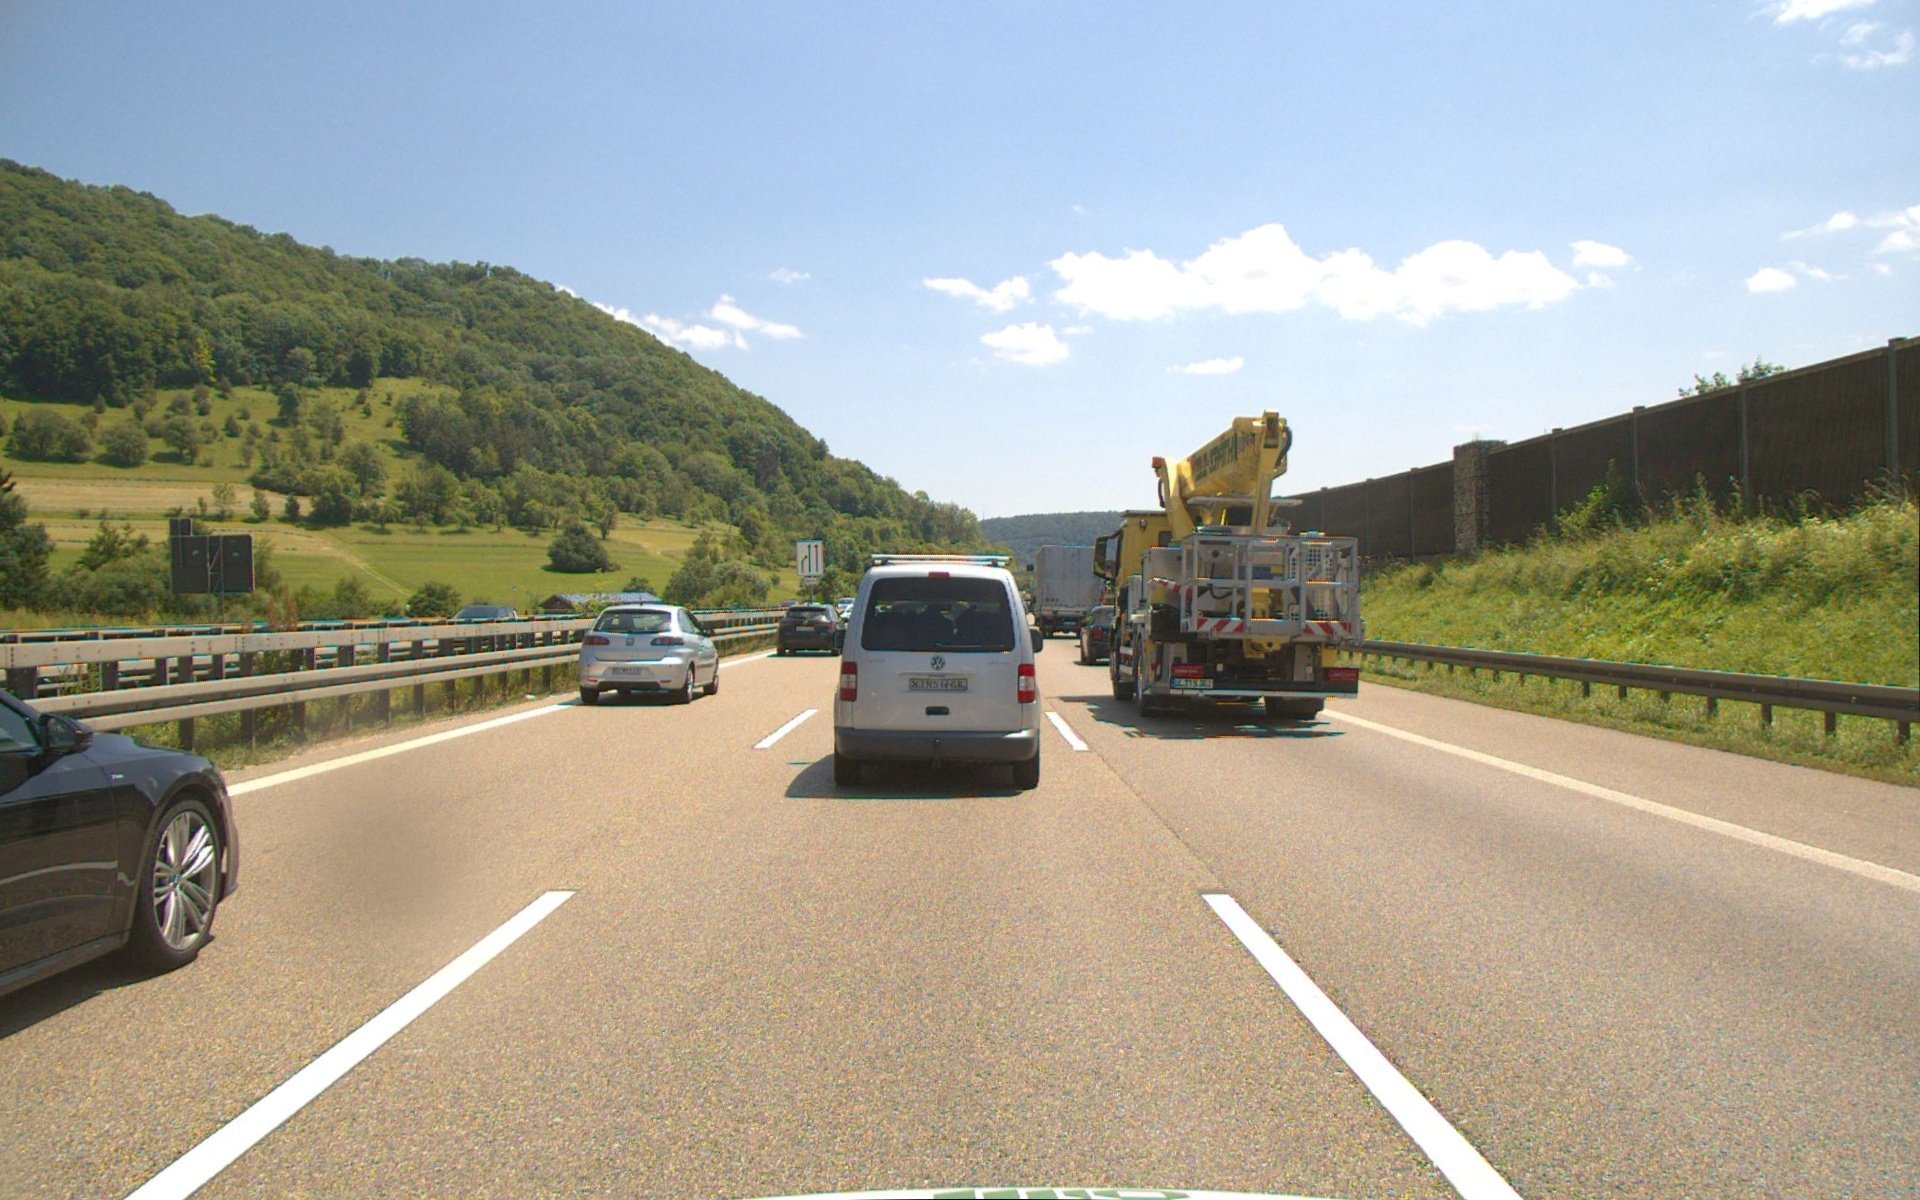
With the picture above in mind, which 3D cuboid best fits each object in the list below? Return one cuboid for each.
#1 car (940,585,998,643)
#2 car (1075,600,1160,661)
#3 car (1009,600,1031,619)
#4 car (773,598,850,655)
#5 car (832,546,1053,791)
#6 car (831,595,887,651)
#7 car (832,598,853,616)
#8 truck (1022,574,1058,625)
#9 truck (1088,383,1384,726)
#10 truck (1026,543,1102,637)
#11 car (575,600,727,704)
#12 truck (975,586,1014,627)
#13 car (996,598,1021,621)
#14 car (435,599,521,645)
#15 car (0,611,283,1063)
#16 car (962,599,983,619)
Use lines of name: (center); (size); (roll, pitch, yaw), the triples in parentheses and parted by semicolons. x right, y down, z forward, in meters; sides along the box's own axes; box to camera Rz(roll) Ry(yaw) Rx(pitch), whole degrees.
car: (0.283, 0.481, 58.884); (1.953, 2.010, 3.999); (0, 0, -1)
car: (3.982, 0.751, 42.375); (1.750, 1.484, 3.770); (0, 0, -1)
car: (5.792, 0.918, 159.073); (1.953, 1.837, 4.000); (1, -1, 0)
car: (-4.168, 0.729, 47.014); (1.886, 1.525, 3.999); (1, 0, -1)
car: (-0.167, 0.532, 14.883); (1.720, 1.900, 3.999); (0, 0, -1)
car: (-3.801, 0.847, 62.834); (1.953, 2.049, 3.999); (-1, 0, -1)
car: (-13.278, 0.767, 187.556); (2.018, 1.975, 4.660); (0, 0, 0)
truck: (5.449, 0.010, 113.054); (1.953, 3.308, 6.798); (1, -1, -1)
truck: (3.573, -0.532, 23.708); (2.649, 4.011, 8.720); (0, 0, -1)
truck: (4.556, -0.385, 73.925); (2.880, 3.890, 8.236); (1, -1, 0)
car: (-4.670, 0.740, 25.489); (1.661, 1.470, 3.861); (0, 0, -1)
truck: (2.203, 0.421, 108.350); (2.341, 2.585, 5.938); (0, 0, -1)
car: (4.040, 0.786, 138.907); (1.953, 1.837, 4.000); (1, -1, 0)
car: (-15.255, 0.679, 52.482); (1.656, 1.392, 3.741); (0, 0, 0)
car: (-3.915, 0.756, 4.939); (1.764, 1.415, 4.969); (0, 0, 0)
car: (1.231, 0.897, 160.825); (1.953, 1.837, 4.000); (1, -1, 0)
